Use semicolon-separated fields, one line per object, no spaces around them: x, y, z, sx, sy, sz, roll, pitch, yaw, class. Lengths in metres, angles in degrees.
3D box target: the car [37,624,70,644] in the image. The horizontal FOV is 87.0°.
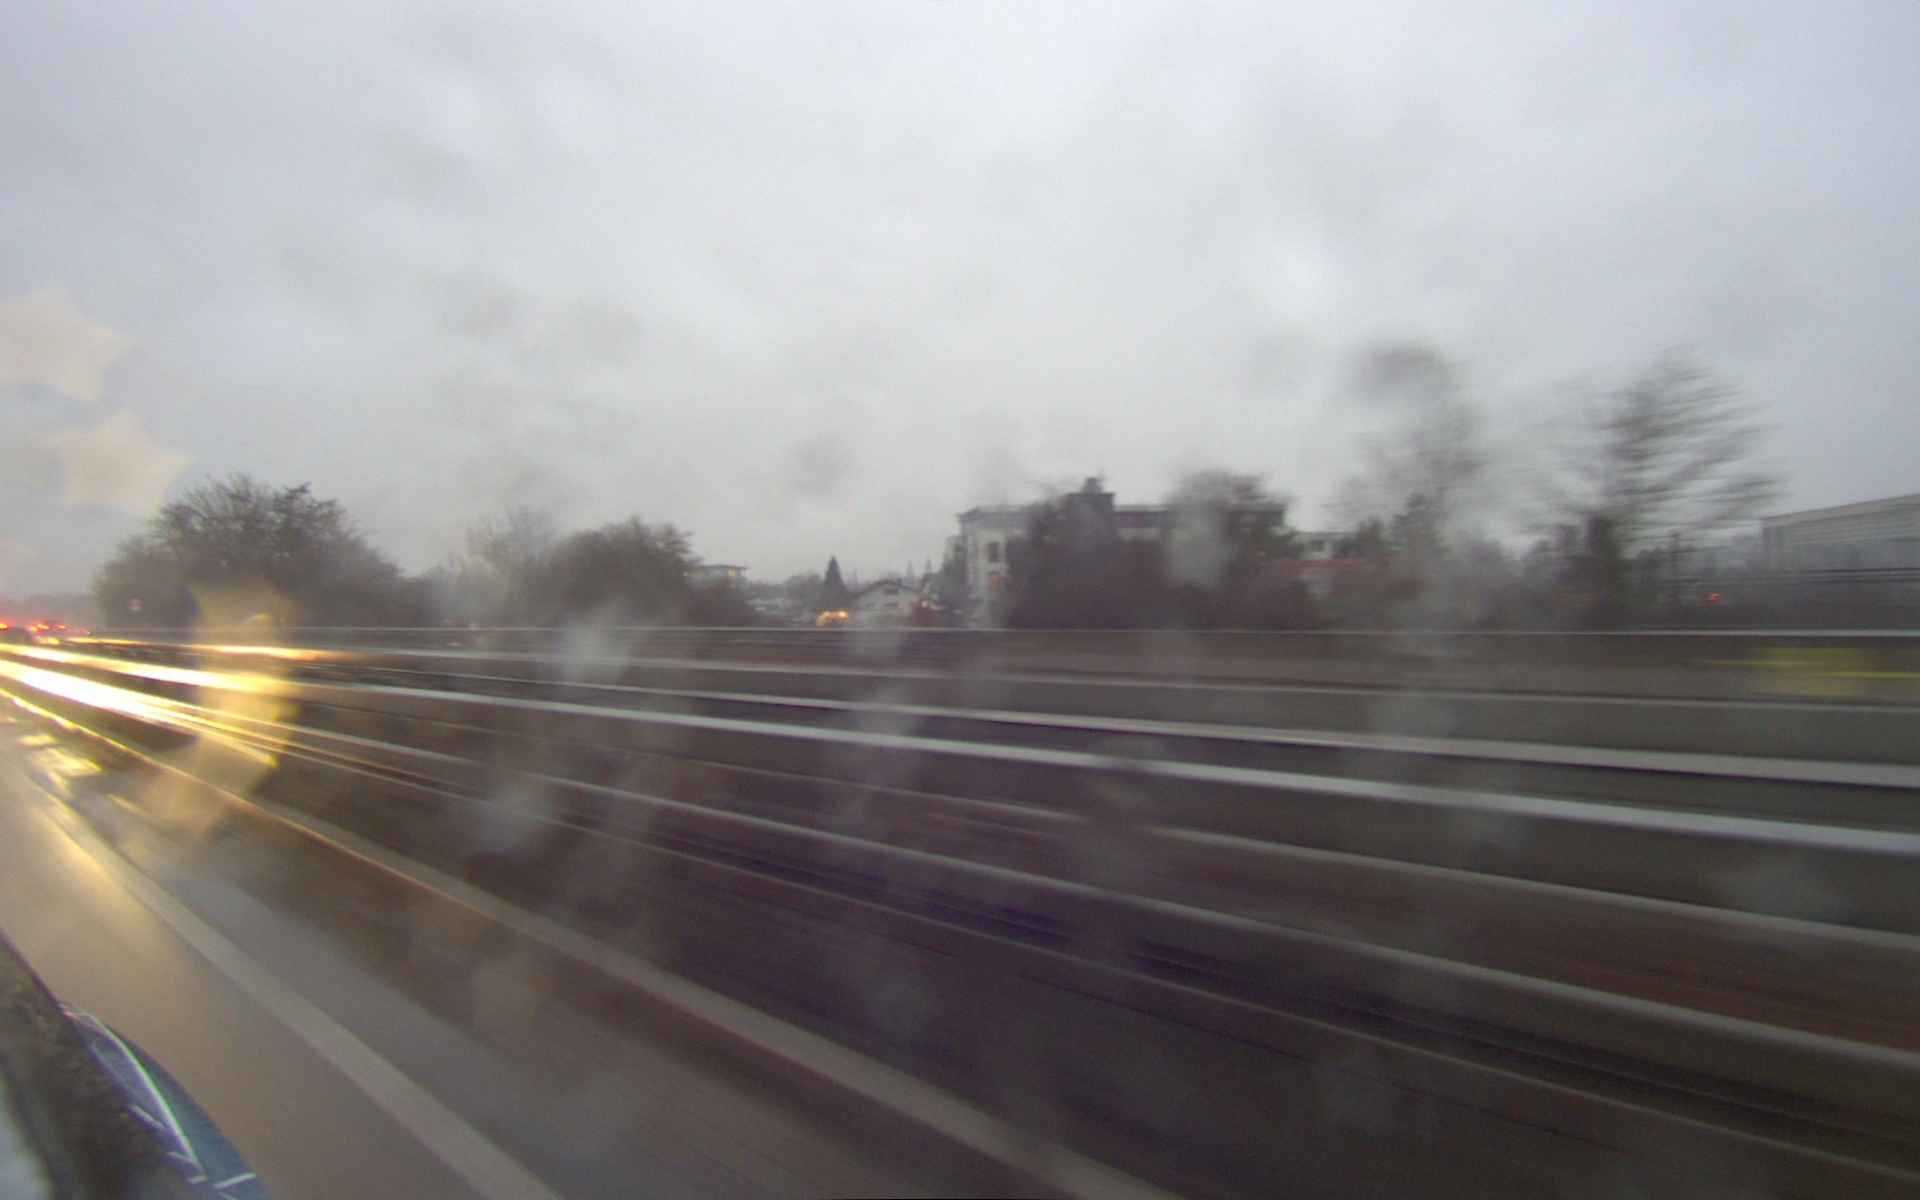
-84.209;3.138;93.957;4.704;1.797;1.874;-2;0;43;car
